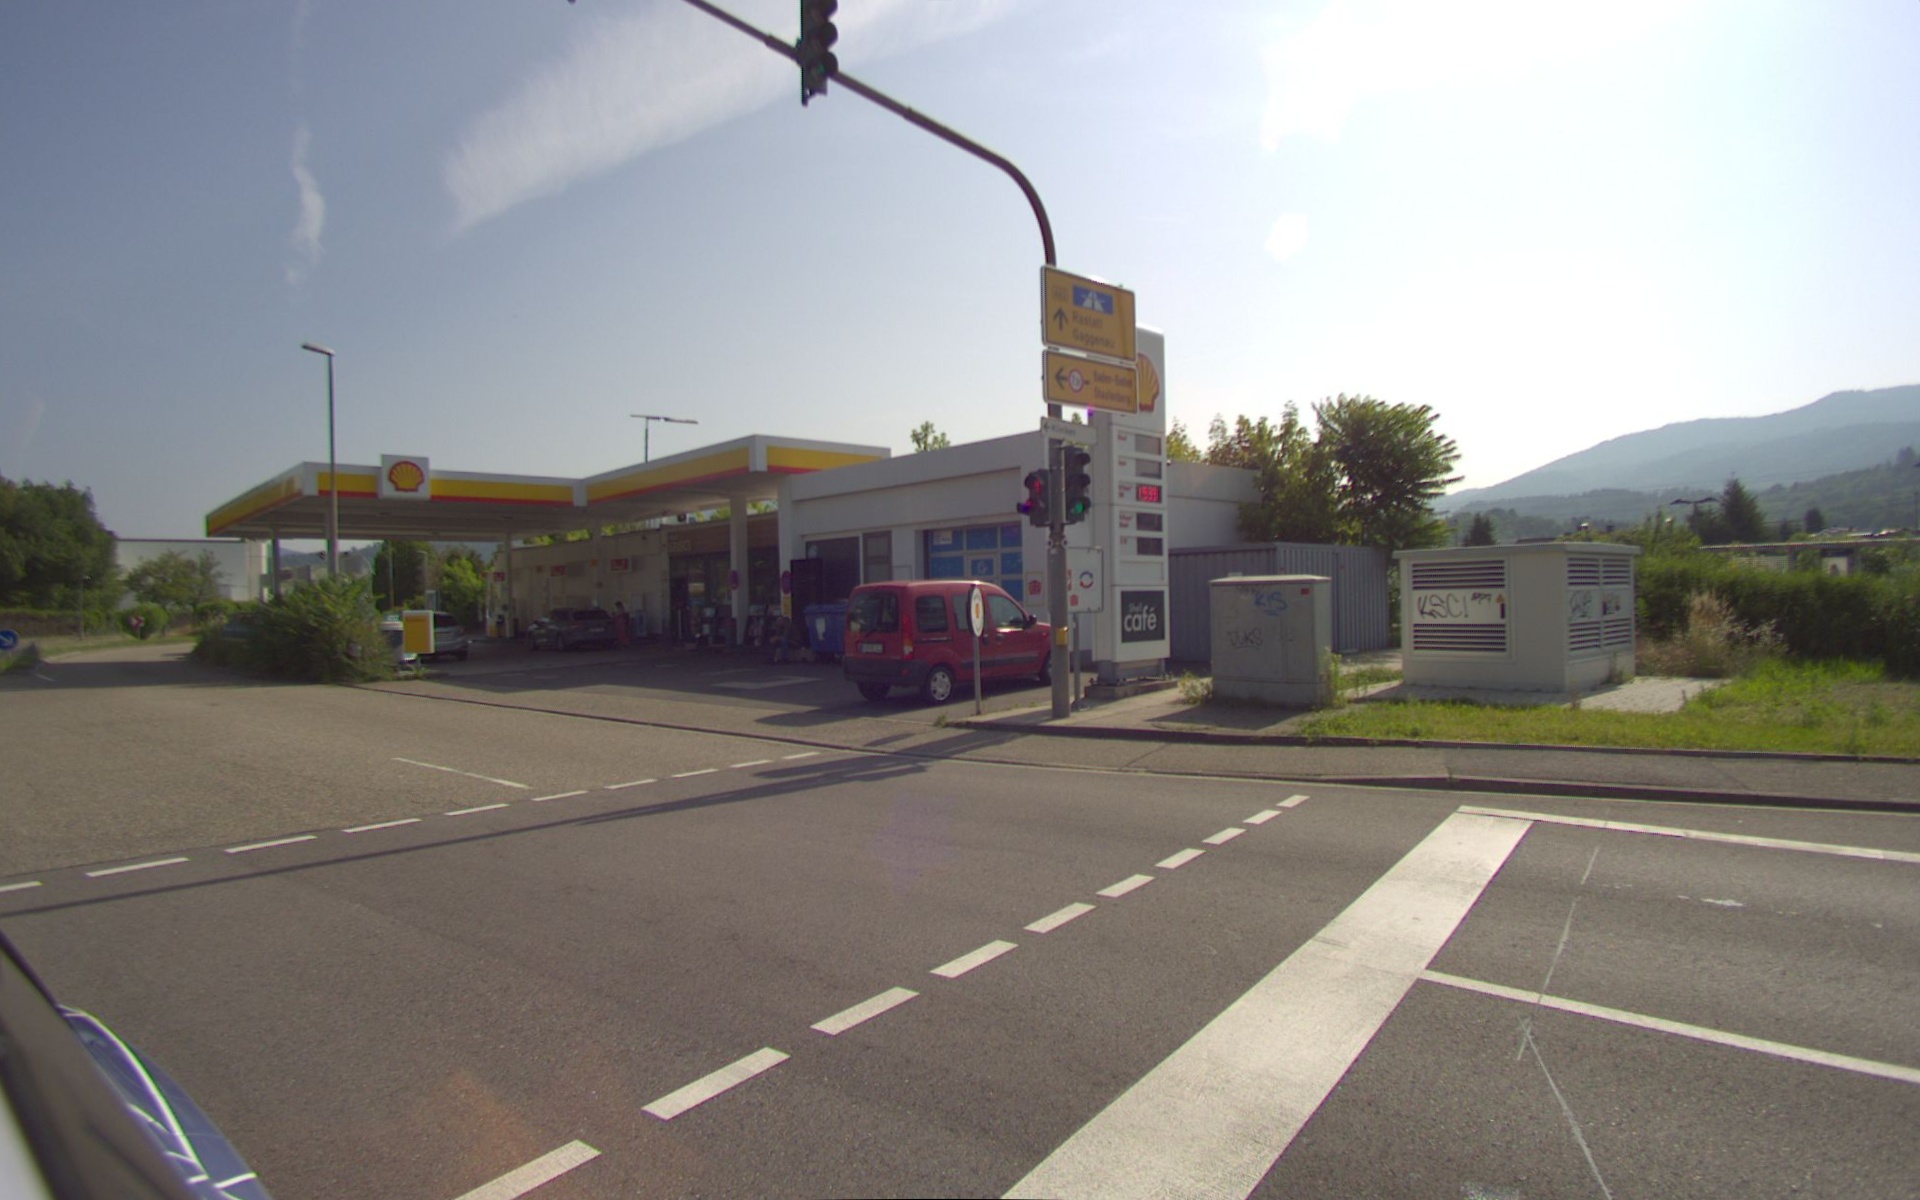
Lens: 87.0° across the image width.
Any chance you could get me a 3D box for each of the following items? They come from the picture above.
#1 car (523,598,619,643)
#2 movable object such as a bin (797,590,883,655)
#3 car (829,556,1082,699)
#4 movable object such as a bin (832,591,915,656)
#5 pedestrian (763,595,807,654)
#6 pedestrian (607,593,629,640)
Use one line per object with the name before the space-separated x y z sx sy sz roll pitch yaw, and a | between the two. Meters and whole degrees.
car | -13.244 0.660 34.305 1.608 1.422 4.232 0 0 -42
movable object such as a bin | -2.673 0.480 22.526 1.227 1.299 1.436 -6 4 -43
car | 0.020 0.331 15.724 3.733 1.809 1.703 -6 3 -44
movable object such as a bin | -1.828 0.479 21.451 1.227 1.252 1.169 -6 4 -43
pedestrian | -4.034 0.562 23.260 0.607 1.305 0.816 -3 1 -44
pedestrian | -11.527 0.547 34.102 0.551 1.559 0.535 0 0 -43
